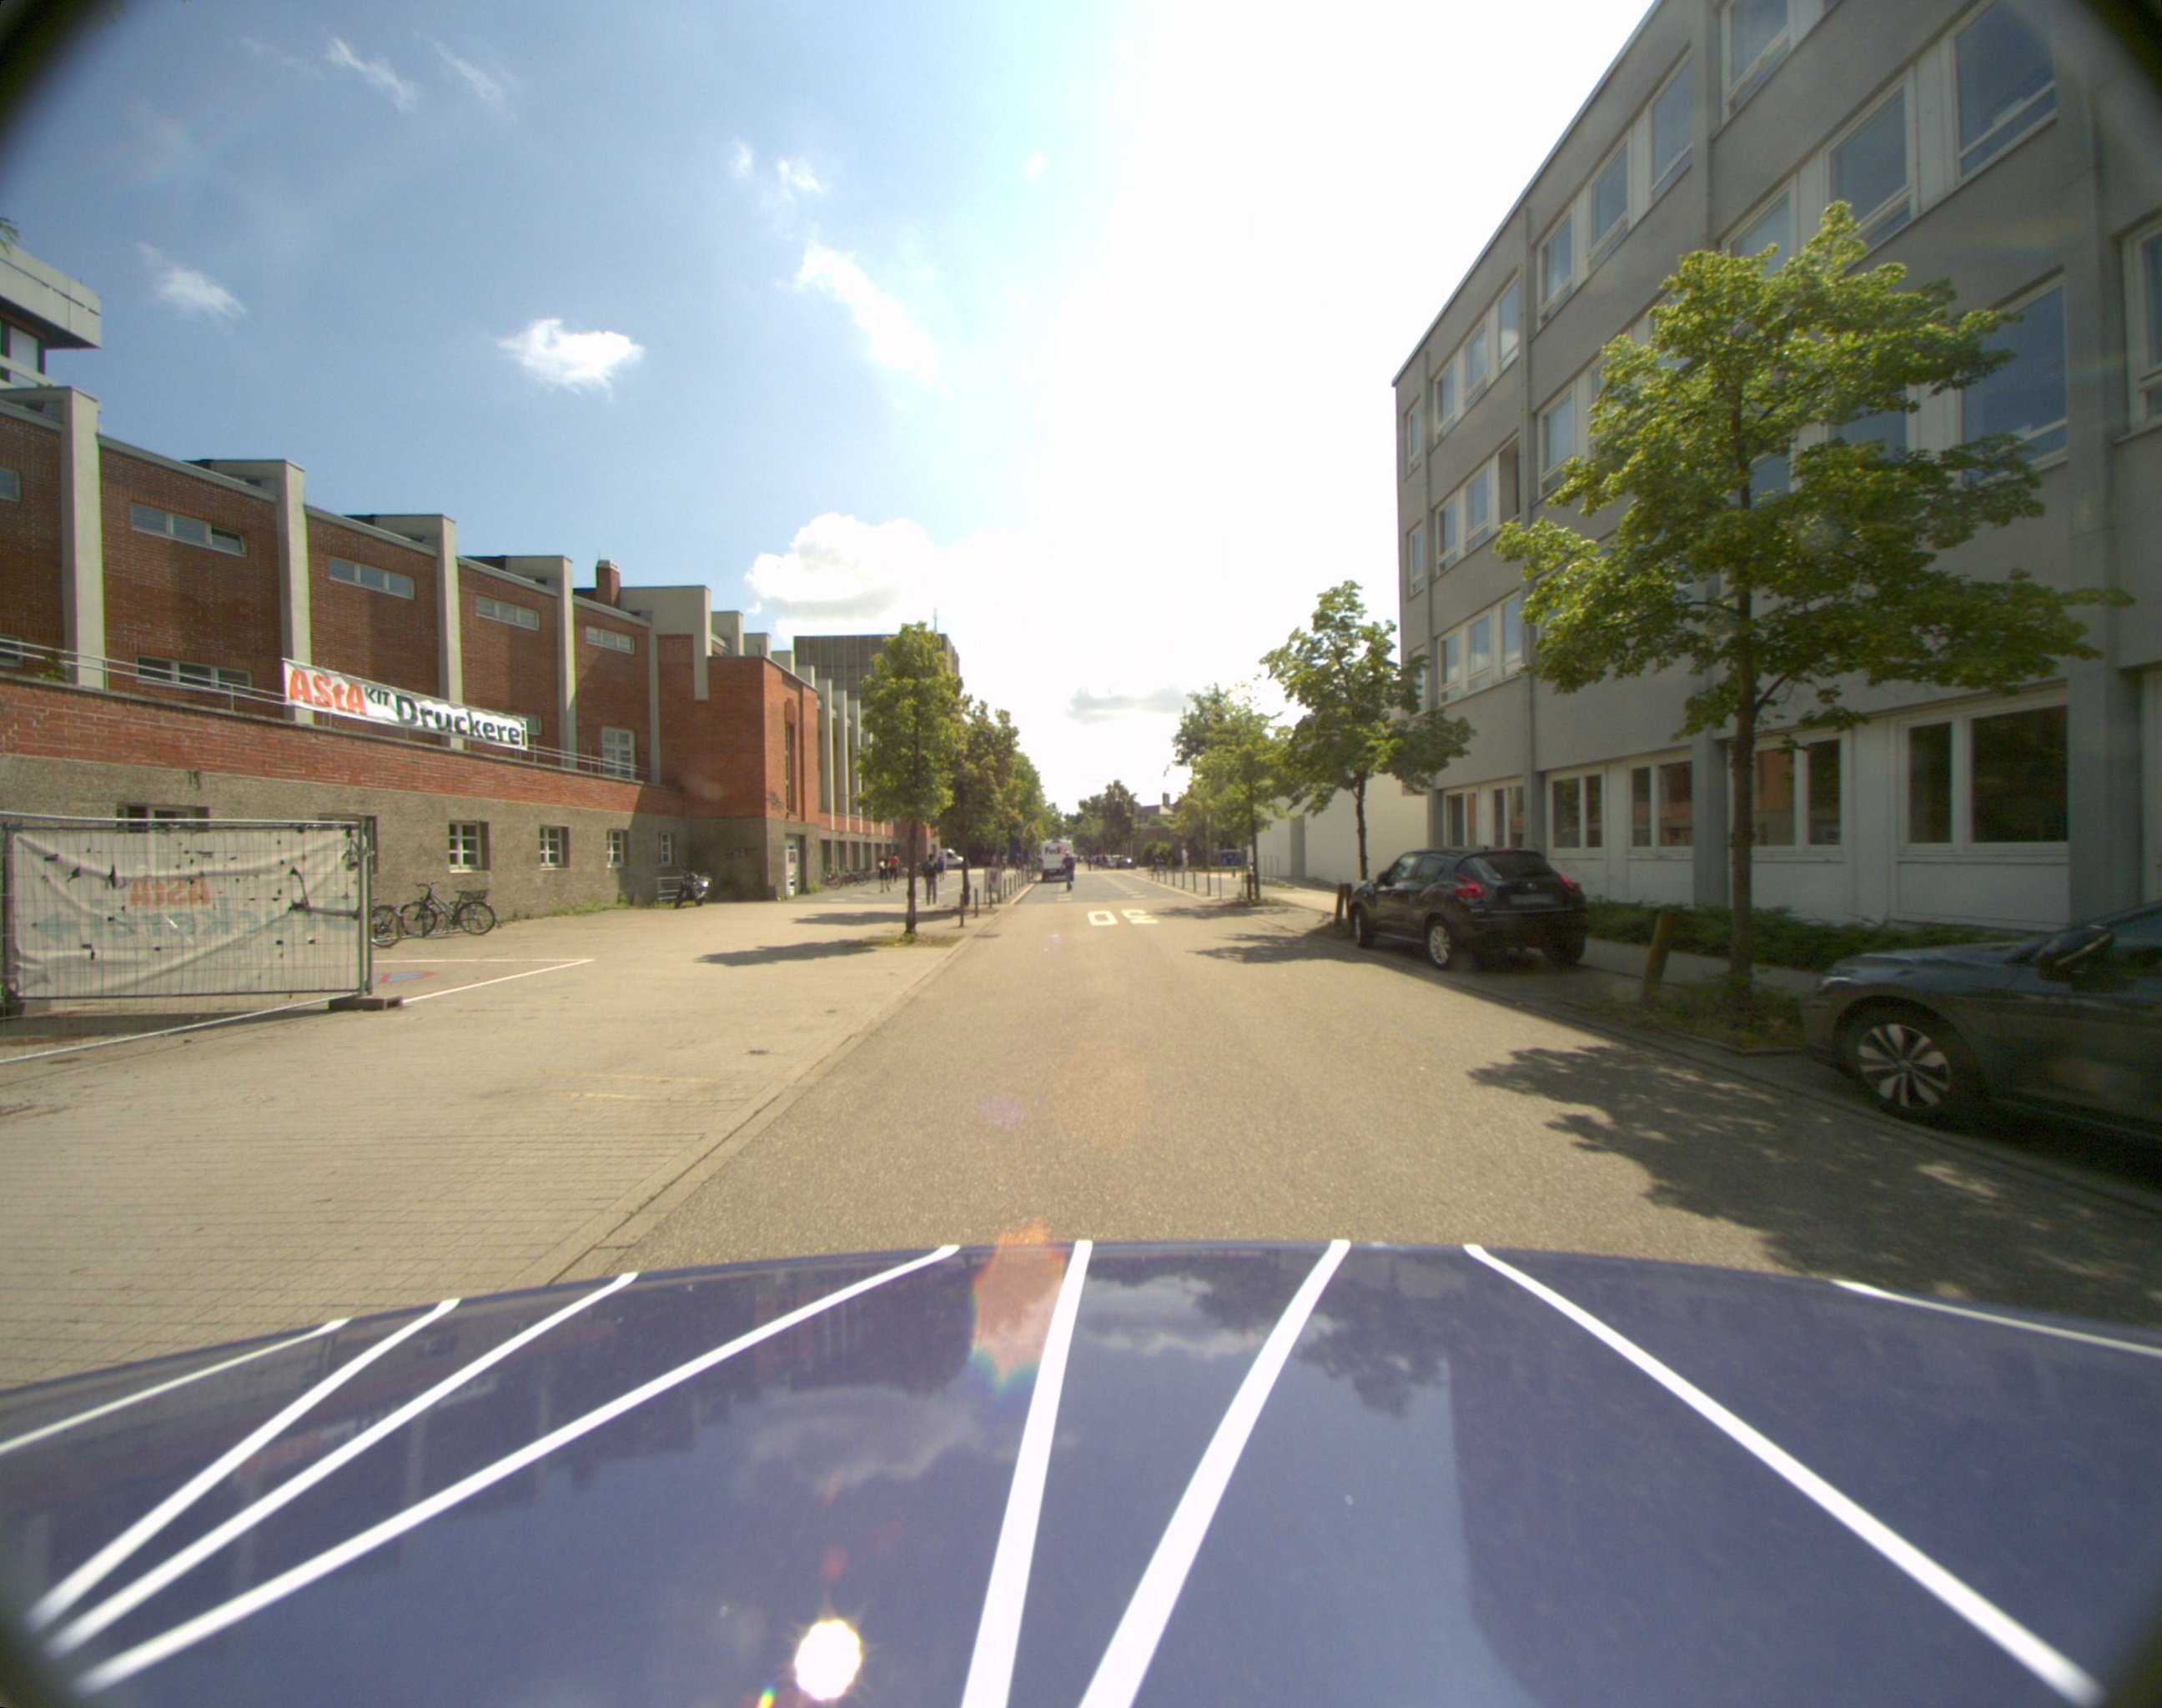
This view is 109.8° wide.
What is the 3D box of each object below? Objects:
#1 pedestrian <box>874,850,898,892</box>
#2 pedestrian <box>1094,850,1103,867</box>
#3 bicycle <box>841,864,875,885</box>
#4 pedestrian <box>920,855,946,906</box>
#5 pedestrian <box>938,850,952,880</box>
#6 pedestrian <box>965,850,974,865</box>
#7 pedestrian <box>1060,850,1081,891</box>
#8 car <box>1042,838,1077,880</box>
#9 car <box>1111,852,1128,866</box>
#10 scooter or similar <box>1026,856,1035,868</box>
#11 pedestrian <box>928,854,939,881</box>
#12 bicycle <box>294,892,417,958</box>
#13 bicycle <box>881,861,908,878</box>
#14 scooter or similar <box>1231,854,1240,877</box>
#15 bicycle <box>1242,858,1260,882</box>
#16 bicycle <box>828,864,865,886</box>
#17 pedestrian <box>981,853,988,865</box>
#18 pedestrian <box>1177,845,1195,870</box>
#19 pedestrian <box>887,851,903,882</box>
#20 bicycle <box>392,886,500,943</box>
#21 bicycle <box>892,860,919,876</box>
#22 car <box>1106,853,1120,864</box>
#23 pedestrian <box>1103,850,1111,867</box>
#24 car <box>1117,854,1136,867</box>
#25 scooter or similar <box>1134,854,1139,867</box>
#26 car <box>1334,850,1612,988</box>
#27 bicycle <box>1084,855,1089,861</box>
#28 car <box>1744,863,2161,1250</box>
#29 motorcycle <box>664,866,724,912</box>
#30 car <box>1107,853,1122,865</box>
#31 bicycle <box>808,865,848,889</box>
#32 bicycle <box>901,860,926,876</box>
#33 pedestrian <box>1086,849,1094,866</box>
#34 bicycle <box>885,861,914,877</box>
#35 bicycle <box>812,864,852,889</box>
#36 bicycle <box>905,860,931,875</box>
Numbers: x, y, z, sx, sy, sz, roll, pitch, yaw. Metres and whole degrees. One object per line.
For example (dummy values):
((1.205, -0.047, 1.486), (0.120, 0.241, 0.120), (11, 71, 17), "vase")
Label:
((-8.703, 0.735, 33.962), (0.846, 1.823, 1.197), (-1, 1, -6), "pedestrian")
((1.818, 0.478, 78.431), (0.727, 1.776, 0.899), (-1, 1, -16), "pedestrian")
((-12.173, 1.139, 41.496), (1.687, 1.103, 0.435), (-1, 1, -3), "bicycle")
((-4.987, 0.890, 25.621), (0.643, 1.687, 0.792), (-1, 1, 3), "pedestrian")
((-8.709, 0.696, 48.743), (0.665, 1.879, 1.110), (0, 1, 2), "pedestrian")
((-14.901, 0.503, 101.282), (0.984, 1.935, 0.976), (-1, 1, -23), "pedestrian")
((-0.469, 0.741, 34.155), (0.826, 1.807, 1.143), (-1, 1, -6), "pedestrian")
((-1.409, 0.297, 48.522), (2.065, 2.528, 5.848), (-1, 0, -3), "car")
((4.297, 0.564, 84.713), (1.635, 1.422, 3.632), (-1, 0, -1), "car")
((-5.253, 0.825, 78.948), (0.575, 1.173, 1.479), (-1, 0, 12), "scooter or similar")
((-9.476, 0.843, 48.873), (0.586, 1.697, 1.001), (0, 1, -3), "pedestrian")
((-12.921, 1.259, 13.553), (1.706, 1.103, 0.448), (-1, 1, -1), "bicycle")
((-12.429, 1.056, 50.762), (1.687, 1.103, 0.435), (-1, 1, -3), "bicycle")
((8.706, 0.666, 42.775), (0.483, 1.256, 1.314), (-1, 1, 11), "scooter or similar")
((7.961, 0.728, 35.680), (0.544, 1.055, 1.899), (-1, 0, 4), "bicycle")
((-12.361, 1.113, 40.056), (1.752, 1.103, 0.435), (-1, 1, -3), "bicycle")
((-12.991, 0.678, 102.023), (0.752, 1.663, 0.844), (-1, 0, -25), "pedestrian")
((7.758, 0.274, 56.247), (1.022, 1.837, 0.918), (1, 1, 30), "pedestrian")
((-11.005, 0.724, 45.031), (0.664, 1.823, 0.906), (-1, 1, 4), "pedestrian")
((-13.028, 1.243, 15.610), (1.810, 1.103, 0.448), (-1, 1, -1), "bicycle")
((-12.516, 1.020, 54.249), (1.802, 1.103, 0.435), (-1, 1, -3), "bicycle")
((4.156, 0.552, 98.855), (1.718, 1.424, 4.000), (-1, 0, 0), "car")
((2.696, 0.488, 78.845), (0.558, 1.706, 0.972), (-1, 1, -13), "pedestrian")
((4.663, 0.640, 78.243), (1.701, 1.287, 3.762), (-1, 0, 0), "car")
((5.442, 0.639, 74.395), (0.470, 1.209, 1.205), (-1, 0, 4), "scooter or similar")
((5.197, 0.741, 10.783), (1.701, 1.555, 4.066), (-1, 0, -3), "car")
((0.964, 0.679, 135.228), (0.626, 1.135, 1.812), (-1, 0, -3), "bicycle")
((5.209, 0.828, 2.738), (1.783, 1.452, 4.257), (-2, 0, -3), "car")
((-12.216, 1.071, 24.079), (0.697, 1.315, 2.220), (-1, 0, 1), "motorcycle")
((4.000, 0.599, 90.699), (1.648, 1.368, 4.000), (-1, 0, 0), "car")
((-12.209, 1.110, 36.691), (1.758, 1.143, 0.435), (-1, 1, -3), "bicycle")
((-12.475, 1.028, 56.573), (1.699, 1.103, 0.435), (-1, 1, -3), "bicycle")
((0.947, 0.395, 77.882), (0.622, 1.706, 1.004), (-1, 0, -13), "pedestrian")
((-12.512, 1.041, 52.436), (1.916, 1.103, 0.435), (-1, 1, -3), "bicycle")
((-12.327, 1.110, 37.615), (1.758, 1.143, 0.517), (-1, 1, -3), "bicycle")
((-12.511, 1.009, 58.380), (1.935, 1.103, 0.456), (-1, 1, -3), "bicycle")
